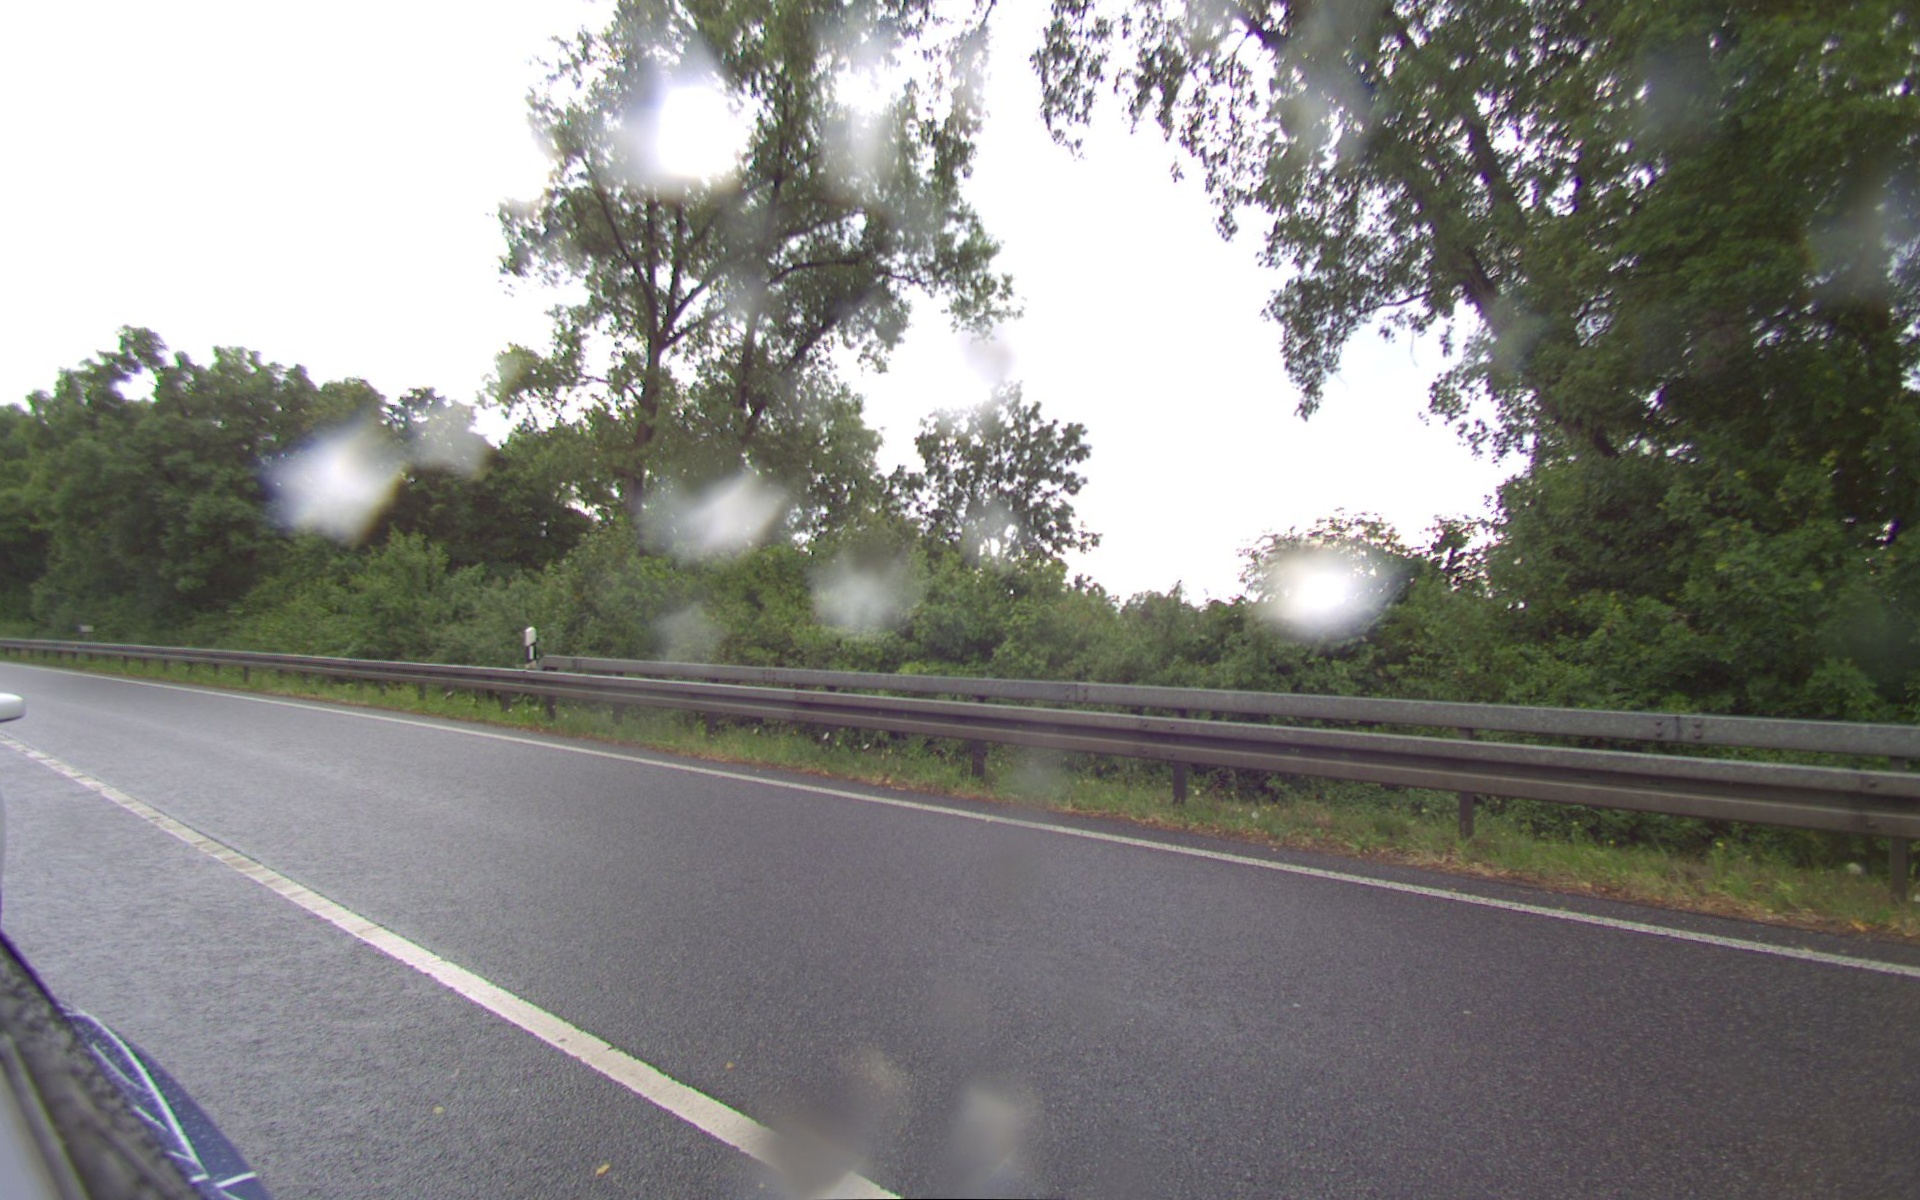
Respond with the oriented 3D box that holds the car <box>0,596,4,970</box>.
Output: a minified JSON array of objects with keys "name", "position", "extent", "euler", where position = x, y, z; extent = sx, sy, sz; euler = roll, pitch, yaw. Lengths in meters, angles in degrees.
[{"name":"car","position":[-5.893,0.760,4.764],"extent":[4.061,1.491,1.678],"euler":[-1,-1,42]}]
